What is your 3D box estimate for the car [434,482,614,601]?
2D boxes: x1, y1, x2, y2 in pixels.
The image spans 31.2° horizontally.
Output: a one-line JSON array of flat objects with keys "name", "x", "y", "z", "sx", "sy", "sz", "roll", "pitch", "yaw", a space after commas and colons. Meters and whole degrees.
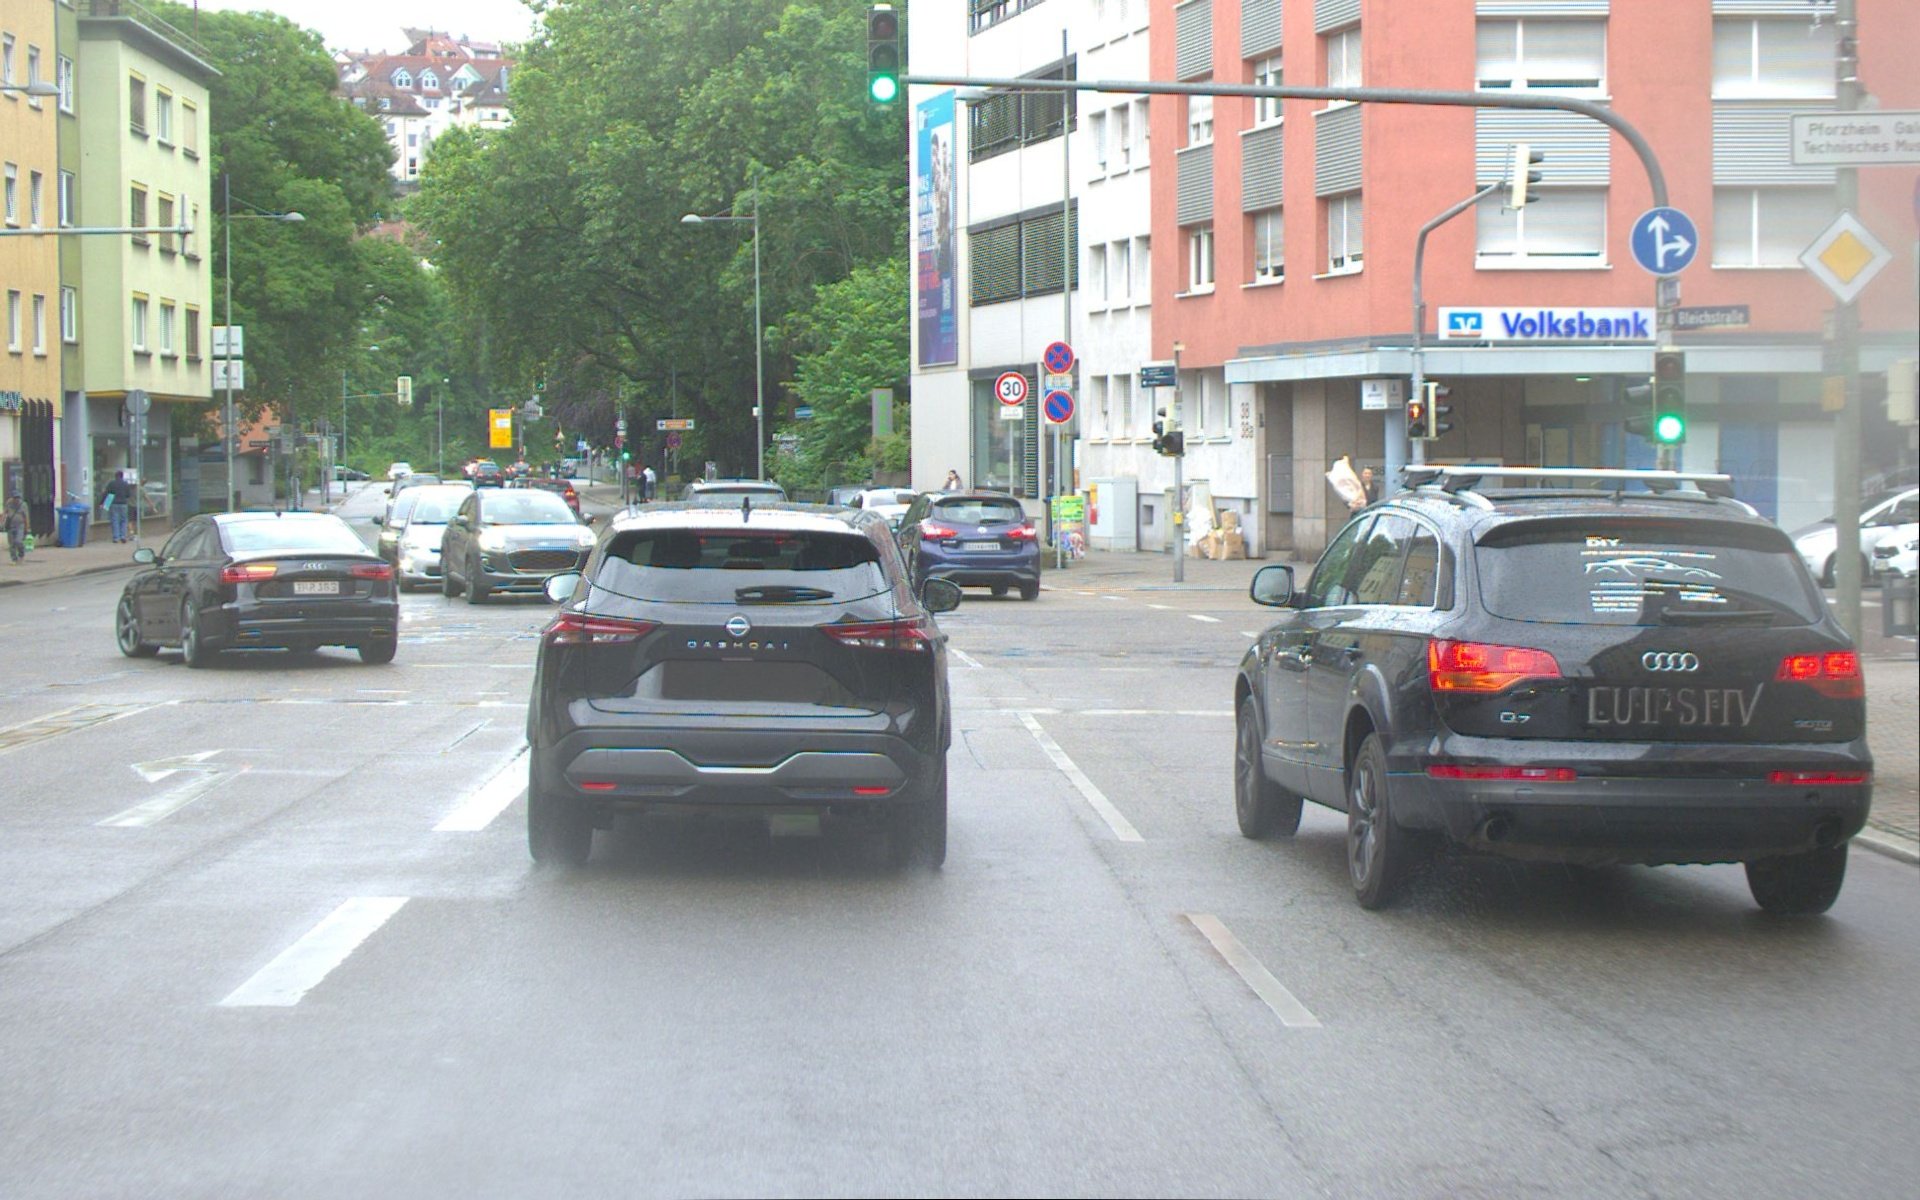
[{"name": "car", "x": -6.068, "y": -0.838, "z": 47.453, "sx": 1.855, "sy": 1.547, "sz": 4.228, "roll": -1, "pitch": 2, "yaw": -15}]

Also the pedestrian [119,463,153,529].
[{"name": "pedestrian", "x": -21.292, "y": -2.686, "z": 88.844, "sx": 0.798, "sy": 1.682, "sz": 0.817, "roll": -1, "pitch": 2, "yaw": -10}]

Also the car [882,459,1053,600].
[{"name": "car", "x": 0.053, "y": -1.011, "z": 48.234, "sx": 1.945, "sy": 1.810, "sz": 4.001, "roll": -3, "pitch": 2, "yaw": -5}]

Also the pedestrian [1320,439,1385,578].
[{"name": "pedestrian", "x": 6.154, "y": -1.445, "z": 53.933, "sx": 0.825, "sy": 2.150, "sz": 0.770, "roll": 1, "pitch": 2, "yaw": -3}]

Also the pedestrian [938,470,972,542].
[{"name": "pedestrian", "x": -0.122, "y": -2.300, "z": 84.283, "sx": 0.612, "sy": 1.731, "sz": 0.681, "roll": -3, "pitch": 2, "yaw": -16}]

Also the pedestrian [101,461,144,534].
[{"name": "pedestrian", "x": -21.112, "y": -2.590, "z": 86.642, "sx": 0.865, "sy": 1.782, "sz": 0.875, "roll": 2, "pitch": 2, "yaw": -3}]

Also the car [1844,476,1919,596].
[{"name": "car", "x": 13.922, "y": -0.863, "z": 44.017, "sx": 4.649, "sy": 1.481, "sz": 1.920, "roll": -1, "pitch": 2, "yaw": -5}]

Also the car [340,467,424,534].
[{"name": "car", "x": -16.827, "y": -2.923, "z": 100.174, "sx": 1.993, "sy": 1.853, "sz": 4.001, "roll": 1, "pitch": 2, "yaw": -4}]

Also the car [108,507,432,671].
[{"name": "car", "x": -6.600, "y": -0.160, "z": 32.520, "sx": 1.993, "sy": 1.383, "sz": 4.501, "roll": -1, "pitch": 2, "yaw": -25}]

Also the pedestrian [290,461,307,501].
[{"name": "pedestrian", "x": -29.805, "y": -5.365, "z": 154.935, "sx": 0.666, "sy": 1.785, "sz": 0.722, "roll": 1, "pitch": 2, "yaw": -16}]

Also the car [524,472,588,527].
[{"name": "car", "x": -12.615, "y": -3.157, "z": 107.272, "sx": 1.820, "sy": 1.606, "sz": 3.867, "roll": 1, "pitch": 3, "yaw": -9}]

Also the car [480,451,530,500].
[{"name": "car", "x": -17.277, "y": -4.744, "z": 130.746, "sx": 1.820, "sy": 1.790, "sz": 3.867, "roll": 1, "pitch": 2, "yaw": -7}]

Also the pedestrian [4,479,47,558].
[{"name": "pedestrian", "x": -19.217, "y": -1.677, "z": 70.711, "sx": 0.686, "sy": 1.576, "sz": 0.652, "roll": 2, "pitch": 2, "yaw": -2}]

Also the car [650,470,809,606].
[{"name": "car", "x": -3.166, "y": -0.866, "z": 46.615, "sx": 1.945, "sy": 1.679, "sz": 4.001, "roll": -3, "pitch": 2, "yaw": -6}]

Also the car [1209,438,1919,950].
[{"name": "car", "x": 2.486, "y": 0.287, "z": 15.219, "sx": 2.021, "sy": 1.863, "sz": 4.900, "roll": 1, "pitch": 1, "yaw": -4}]

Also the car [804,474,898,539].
[{"name": "car", "x": -2.626, "y": -2.249, "z": 81.940, "sx": 1.714, "sy": 1.437, "sz": 4.083, "roll": -3, "pitch": 3, "yaw": -8}]

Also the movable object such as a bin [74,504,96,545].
[{"name": "movable object such as a bin", "x": -21.539, "y": -1.868, "z": 84.623, "sx": 0.399, "sy": 1.003, "sz": 0.545, "roll": 0, "pitch": 2, "yaw": -2}]

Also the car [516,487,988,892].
[{"name": "car", "x": -1.004, "y": 0.335, "z": 16.093, "sx": 1.894, "sy": 1.623, "sz": 4.001, "roll": 1, "pitch": 1, "yaw": -4}]

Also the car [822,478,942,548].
[{"name": "car", "x": -1.757, "y": -1.926, "z": 75.492, "sx": 1.774, "sy": 1.396, "sz": 4.582, "roll": -3, "pitch": 3, "yaw": -12}]

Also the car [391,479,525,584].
[{"name": "car", "x": -7.763, "y": -1.067, "z": 53.024, "sx": 1.933, "sy": 1.521, "sz": 4.136, "roll": -1, "pitch": 1, "yaw": -9}]

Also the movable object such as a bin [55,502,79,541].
[{"name": "movable object such as a bin", "x": -21.365, "y": -1.878, "z": 82.245, "sx": 0.454, "sy": 0.926, "sz": 0.502, "roll": 0, "pitch": 2, "yaw": -2}]

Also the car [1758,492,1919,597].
[{"name": "car", "x": 14.006, "y": -0.852, "z": 50.900, "sx": 3.945, "sy": 1.481, "sz": 1.703, "roll": -1, "pitch": 2, "yaw": -3}]

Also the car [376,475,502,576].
[{"name": "car", "x": -8.770, "y": -1.267, "z": 58.156, "sx": 1.820, "sy": 1.603, "sz": 4.432, "roll": -1, "pitch": 1, "yaw": -5}]
